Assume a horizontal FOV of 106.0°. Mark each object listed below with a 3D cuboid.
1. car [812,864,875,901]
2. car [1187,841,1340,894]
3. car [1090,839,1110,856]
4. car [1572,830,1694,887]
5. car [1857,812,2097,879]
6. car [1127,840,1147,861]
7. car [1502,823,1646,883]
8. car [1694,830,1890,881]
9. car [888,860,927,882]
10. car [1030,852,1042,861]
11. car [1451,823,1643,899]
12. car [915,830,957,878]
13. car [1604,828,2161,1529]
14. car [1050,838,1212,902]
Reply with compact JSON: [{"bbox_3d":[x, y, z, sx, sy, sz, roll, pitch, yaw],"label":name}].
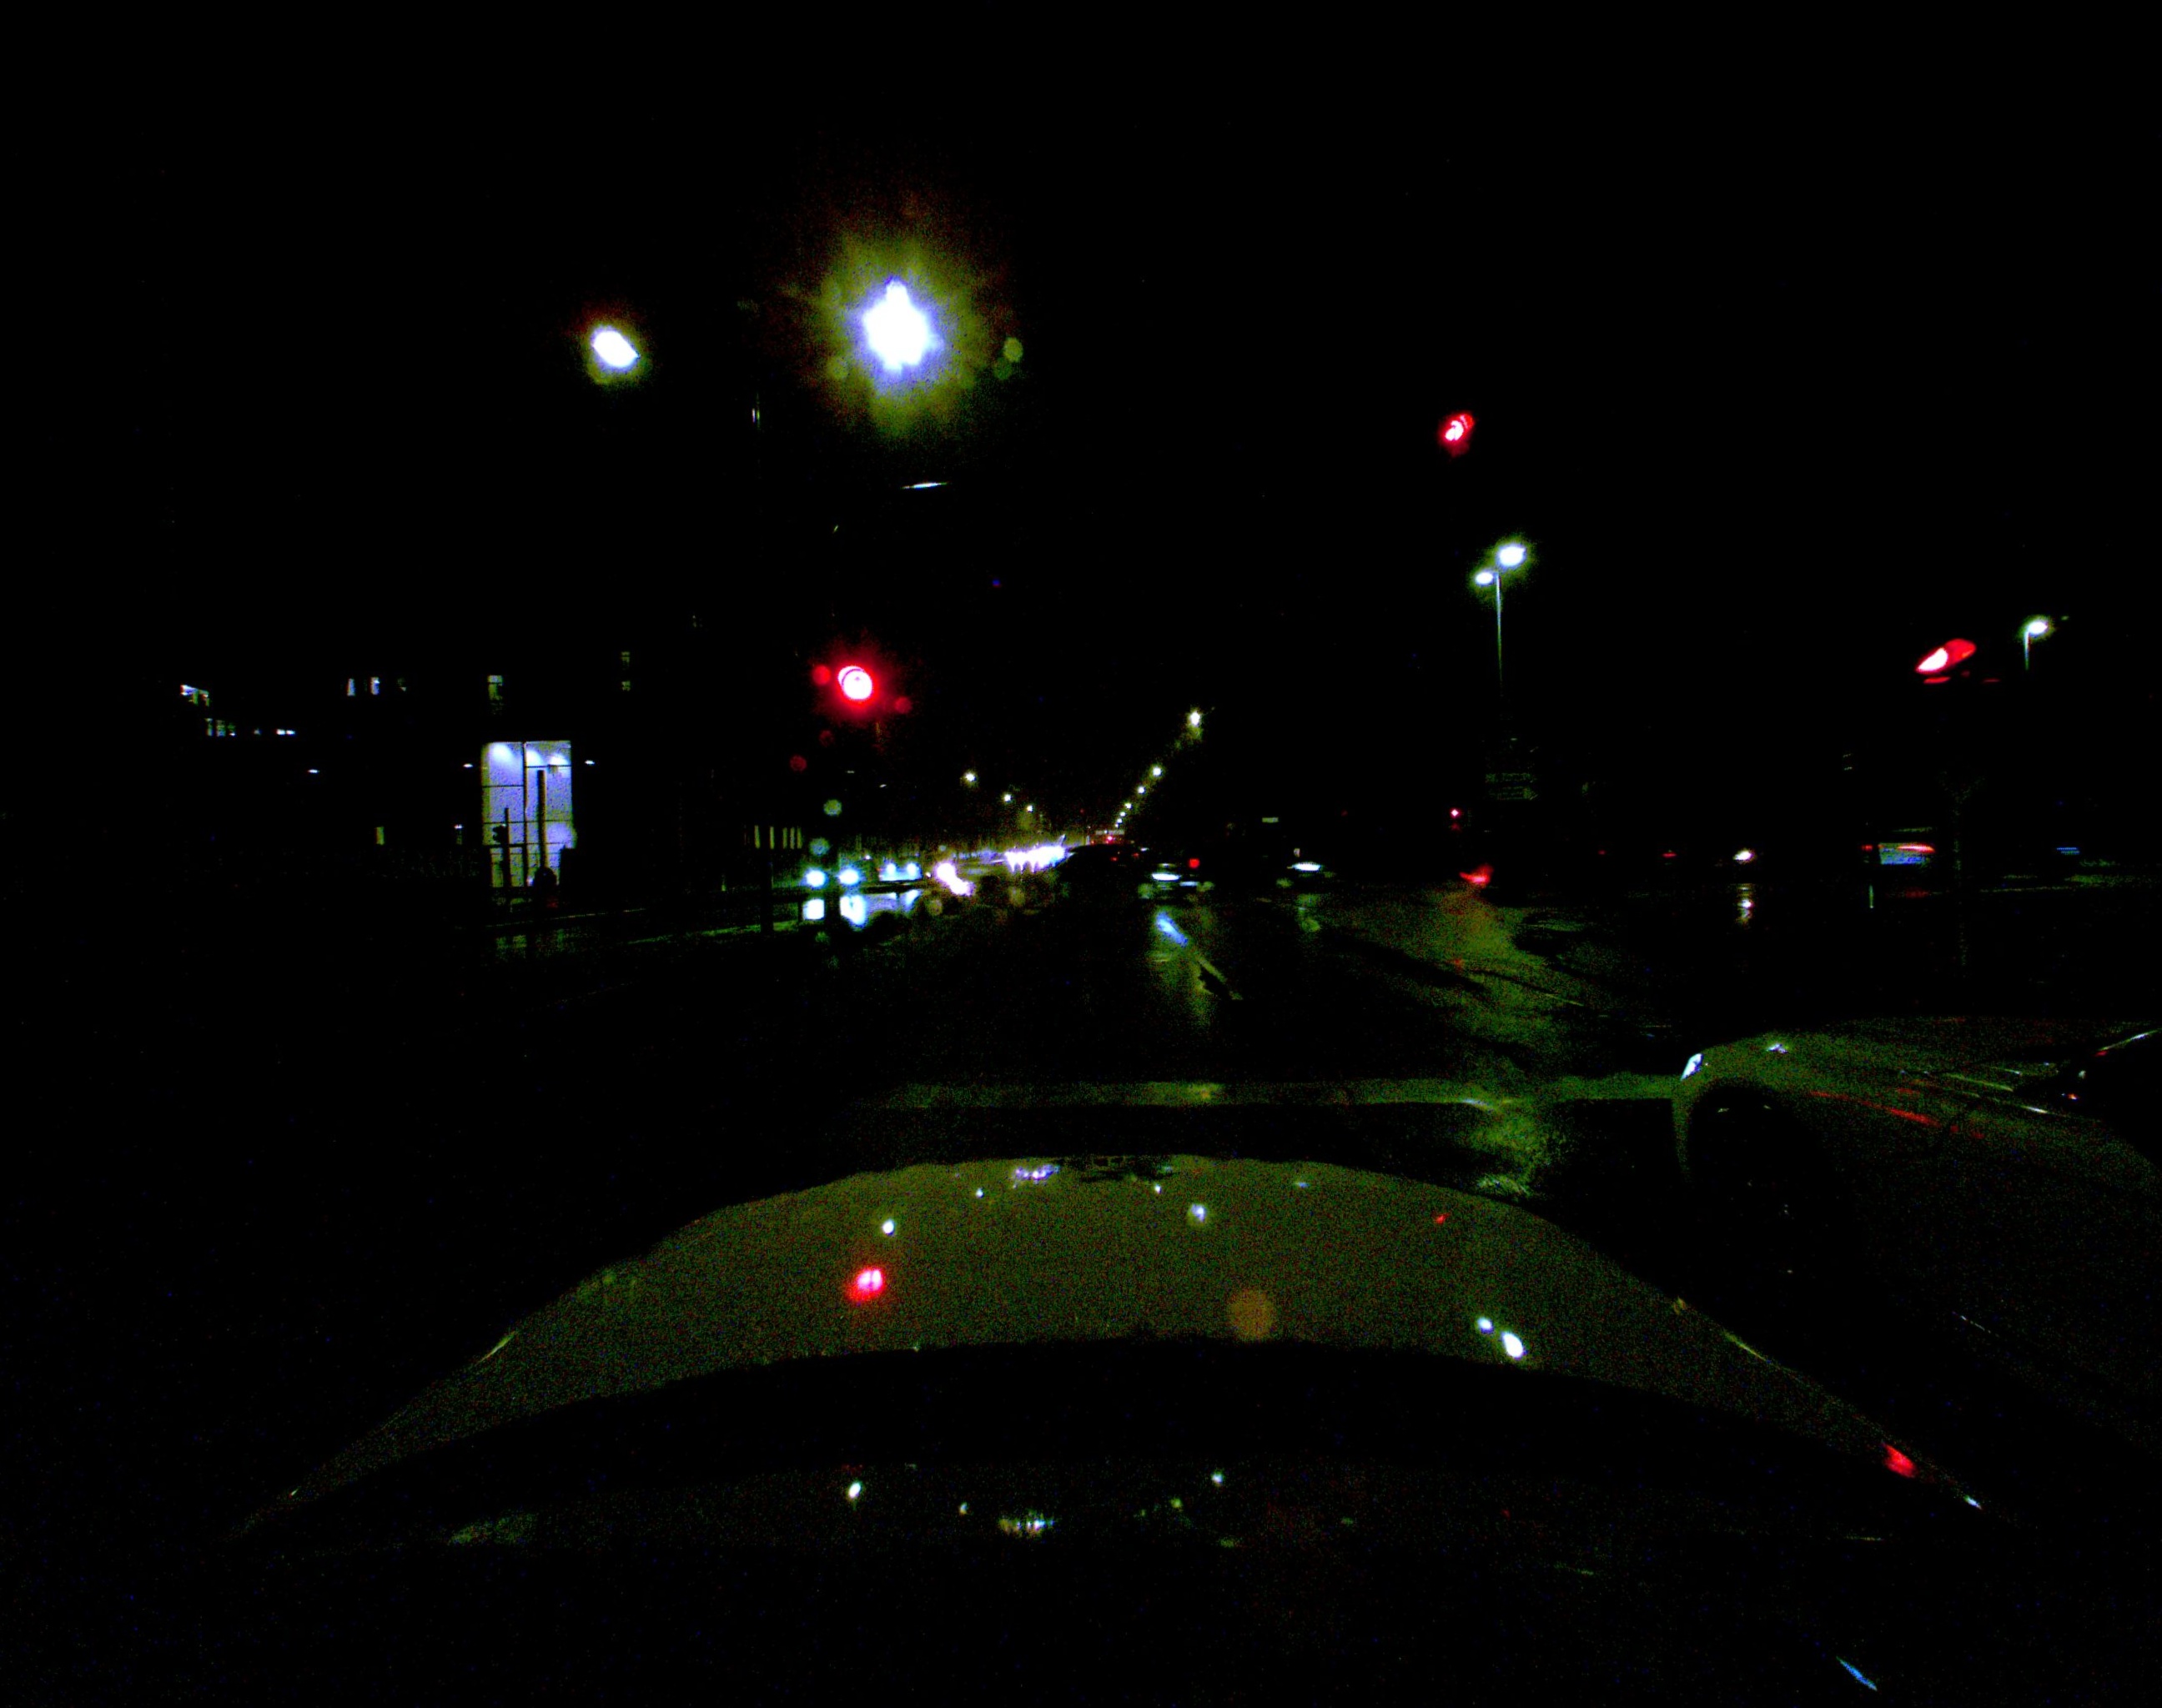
[{"bbox_3d":[-10.203,1.187,35.222,1.694,1.516,3.565,-1,-1,-1],"label":"car"},{"bbox_3d":[5.909,0.452,26.506,4.456,1.618,1.920,-1,-1,30],"label":"car"},{"bbox_3d":[2.518,-0.834,108.536,2.434,2.194,5.076,-1,-1,-1],"label":"car"},{"bbox_3d":[22.653,0.205,33.594,3.603,2.215,2.225,-1,-1,16],"label":"car"},{"bbox_3d":[24.593,-0.213,22.490,4.430,1.671,1.842,-1,-1,3],"label":"car"},{"bbox_3d":[5.765,-0.334,83.814,2.029,2.014,4.311,-1,-1,4],"label":"car"},{"bbox_3d":[17.675,-0.026,29.394,3.964,2.014,2.004,-1,-1,8],"label":"car"},{"bbox_3d":[24.278,0.062,27.966,4.823,1.590,1.857,-1,-1,8],"label":"car"},{"bbox_3d":[-12.610,1.218,59.358,1.817,1.464,4.001,-1,-1,2],"label":"car"},{"bbox_3d":[-8.444,0.502,153.380,1.743,1.709,4.500,-3,-1,1],"label":"car"},{"bbox_3d":[11.418,0.194,20.185,3.731,1.734,1.727,-1,-1,8],"label":"car"},{"bbox_3d":[-6.340,0.020,35.760,1.698,2.014,3.555,-1,-1,-10],"label":"car"},{"bbox_3d":[3.103,0.659,1.291,1.714,1.446,4.383,-3,-1,1],"label":"car"},{"bbox_3d":[1.397,0.465,23.682,4.360,1.672,1.971,-2,-1,40],"label":"car"}]
